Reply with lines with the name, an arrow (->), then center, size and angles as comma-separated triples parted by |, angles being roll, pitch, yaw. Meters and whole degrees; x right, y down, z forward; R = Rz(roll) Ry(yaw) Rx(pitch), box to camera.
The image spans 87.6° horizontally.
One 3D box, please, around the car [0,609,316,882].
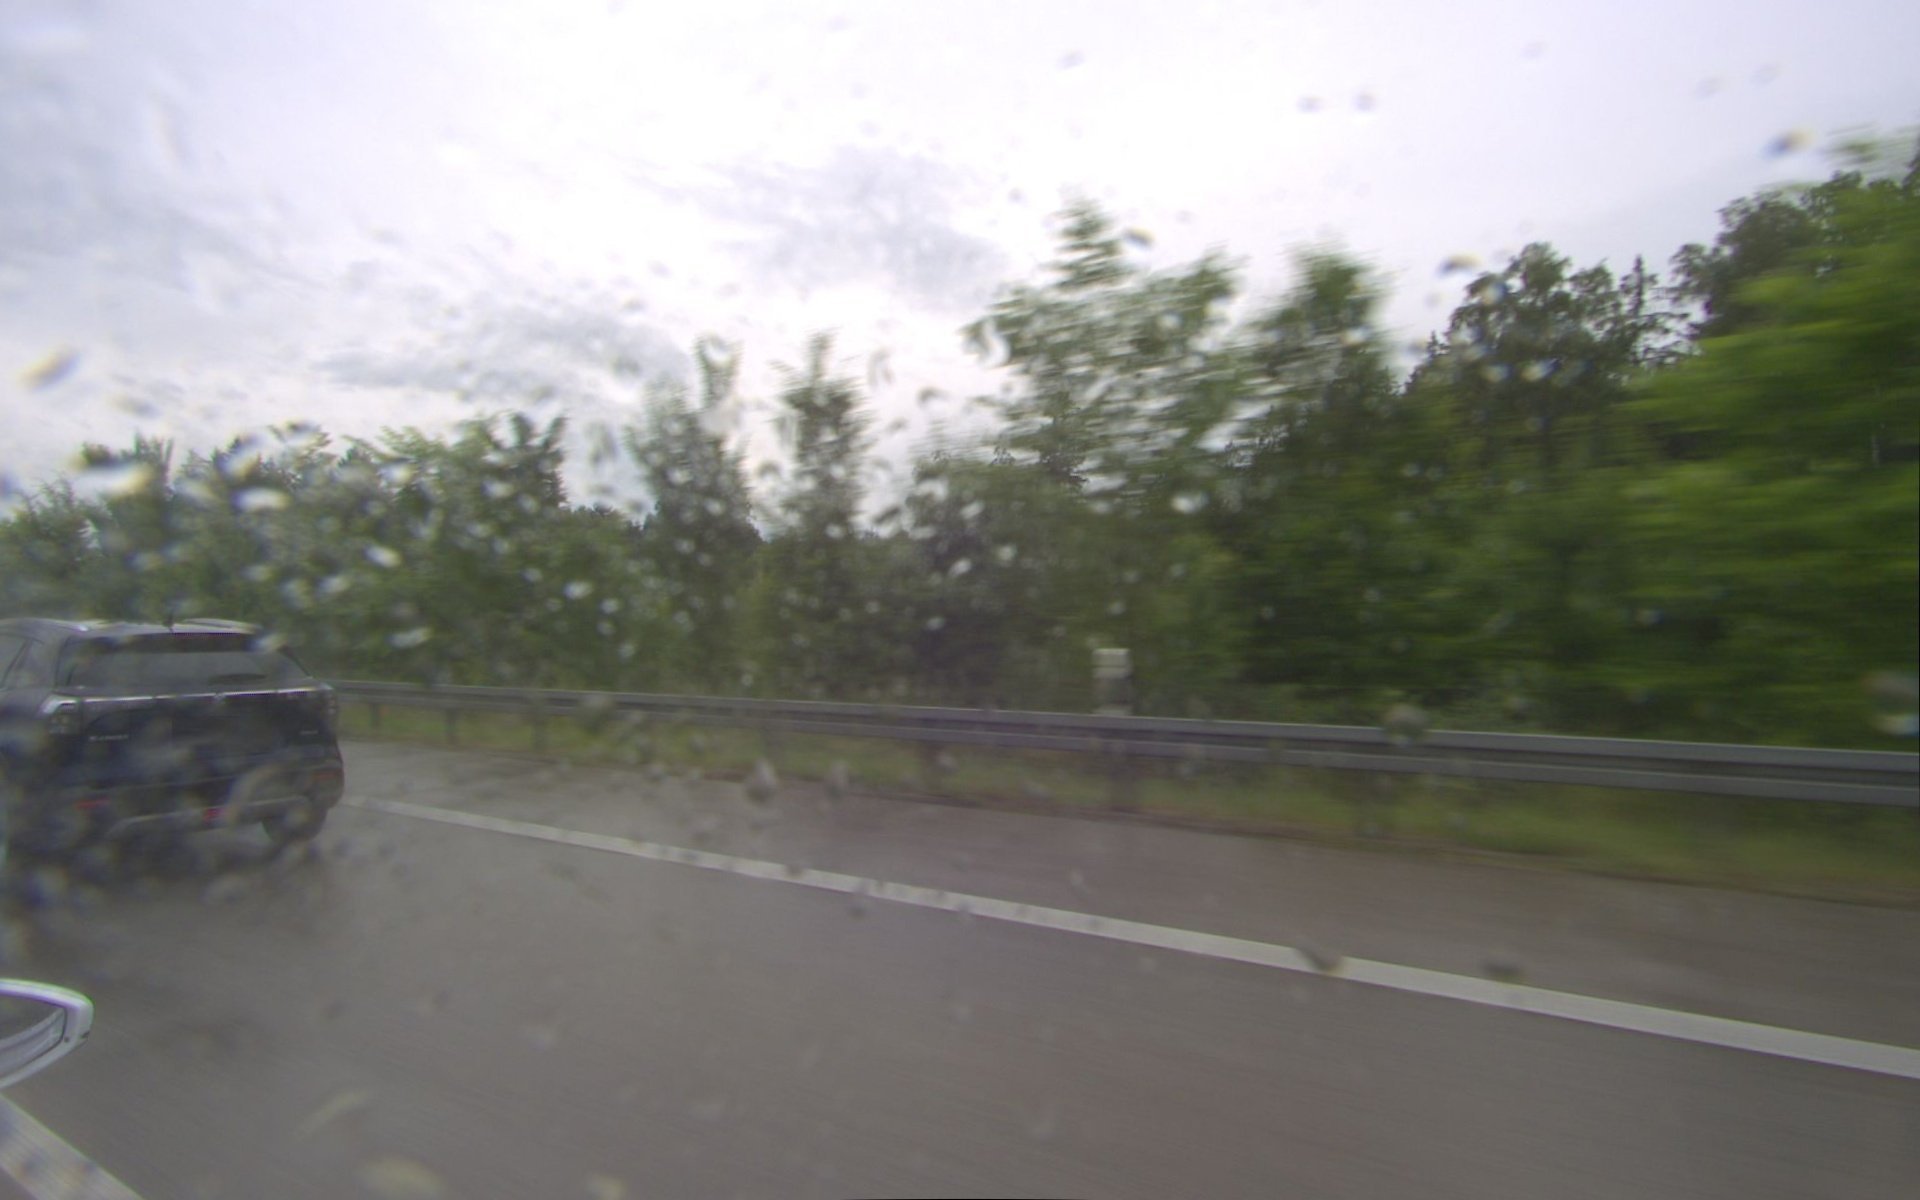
car -> -6.708, 0.902, 7.508 | 3.581, 1.596, 1.890 | -1, -2, 34
